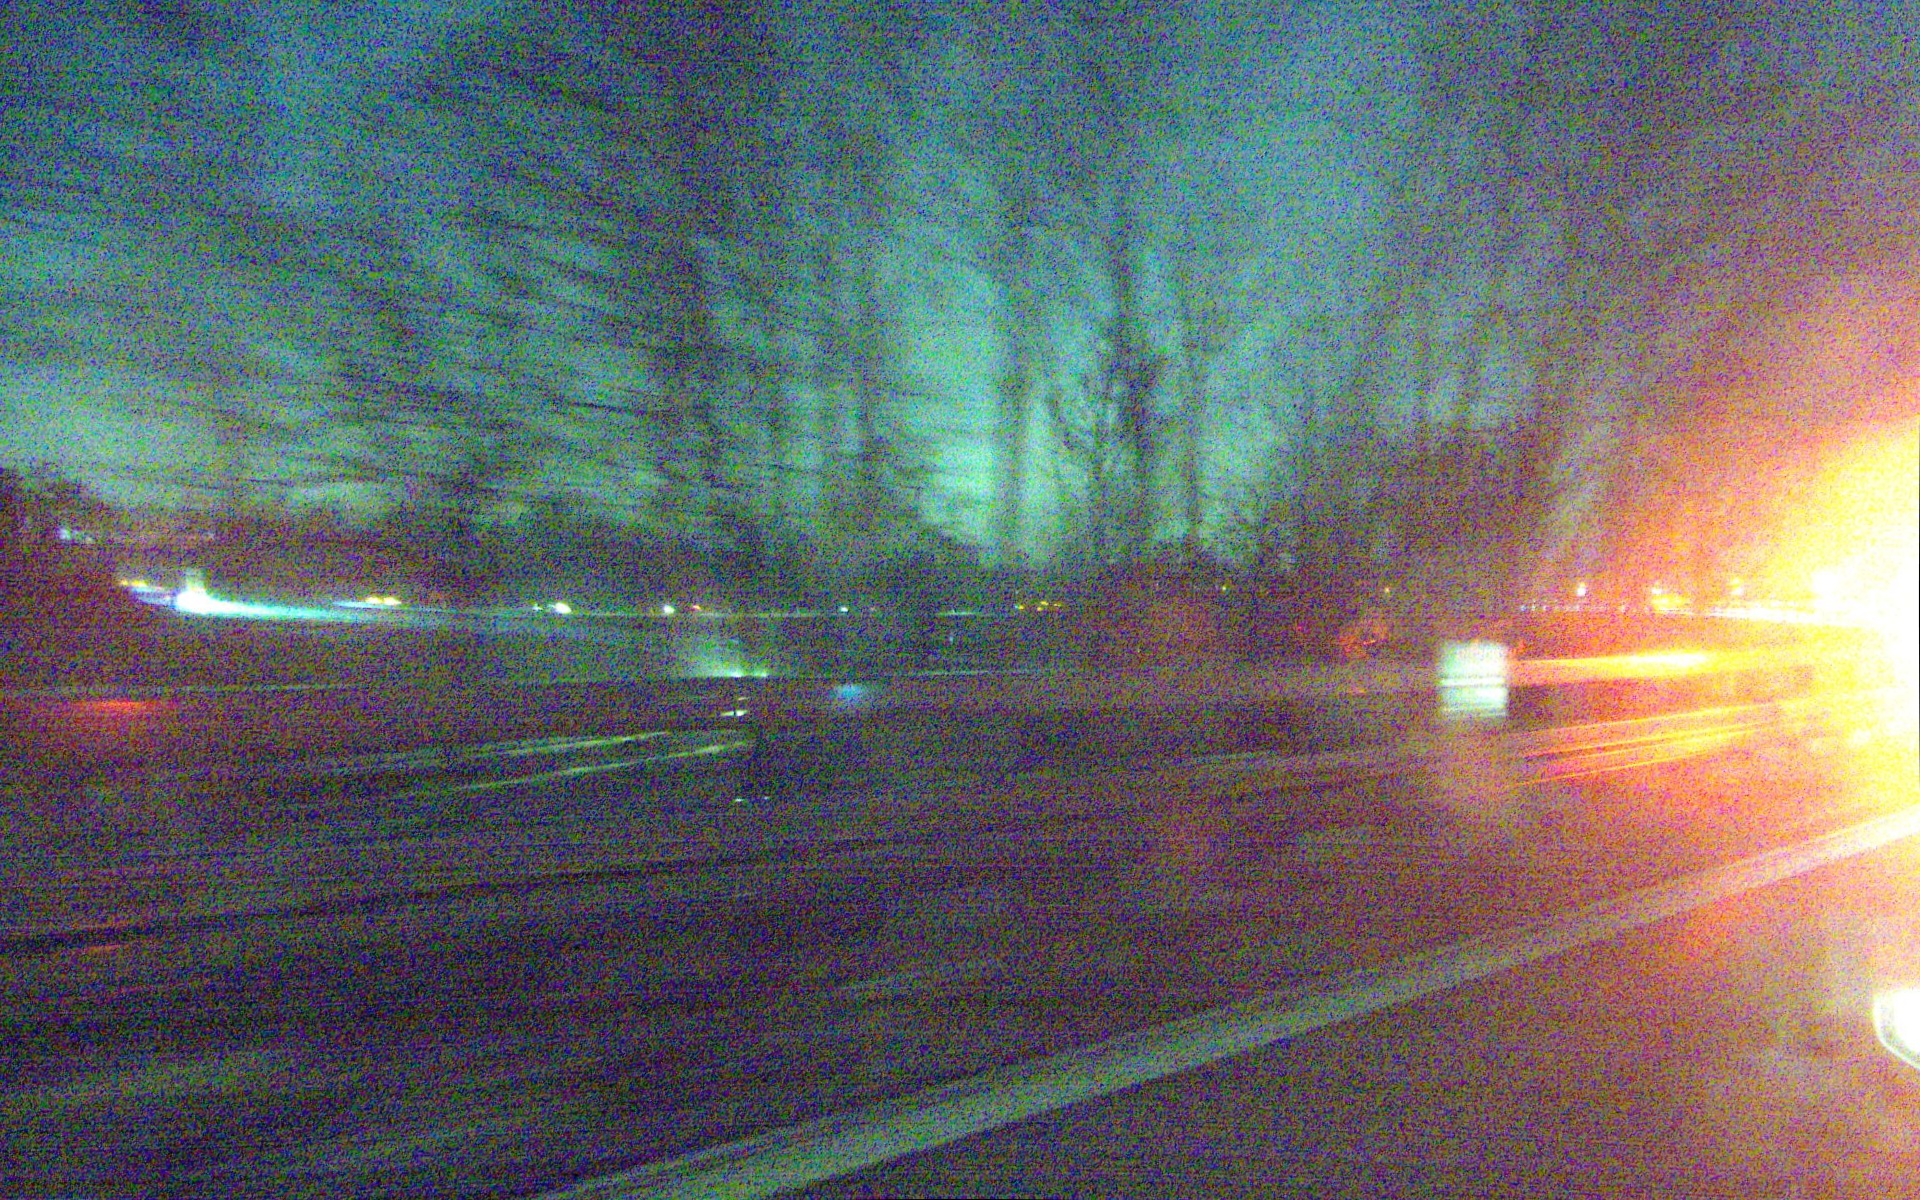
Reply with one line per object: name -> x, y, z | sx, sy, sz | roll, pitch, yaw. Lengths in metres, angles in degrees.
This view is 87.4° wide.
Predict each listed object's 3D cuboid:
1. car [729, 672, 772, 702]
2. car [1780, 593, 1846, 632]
car -> -11.630, 4.799, 55.964 | 1.475, 1.446, 3.432 | 2, -2, 3
car -> 46.977, 0.657, 55.402 | 1.866, 2.024, 4.040 | 0, 0, 27
